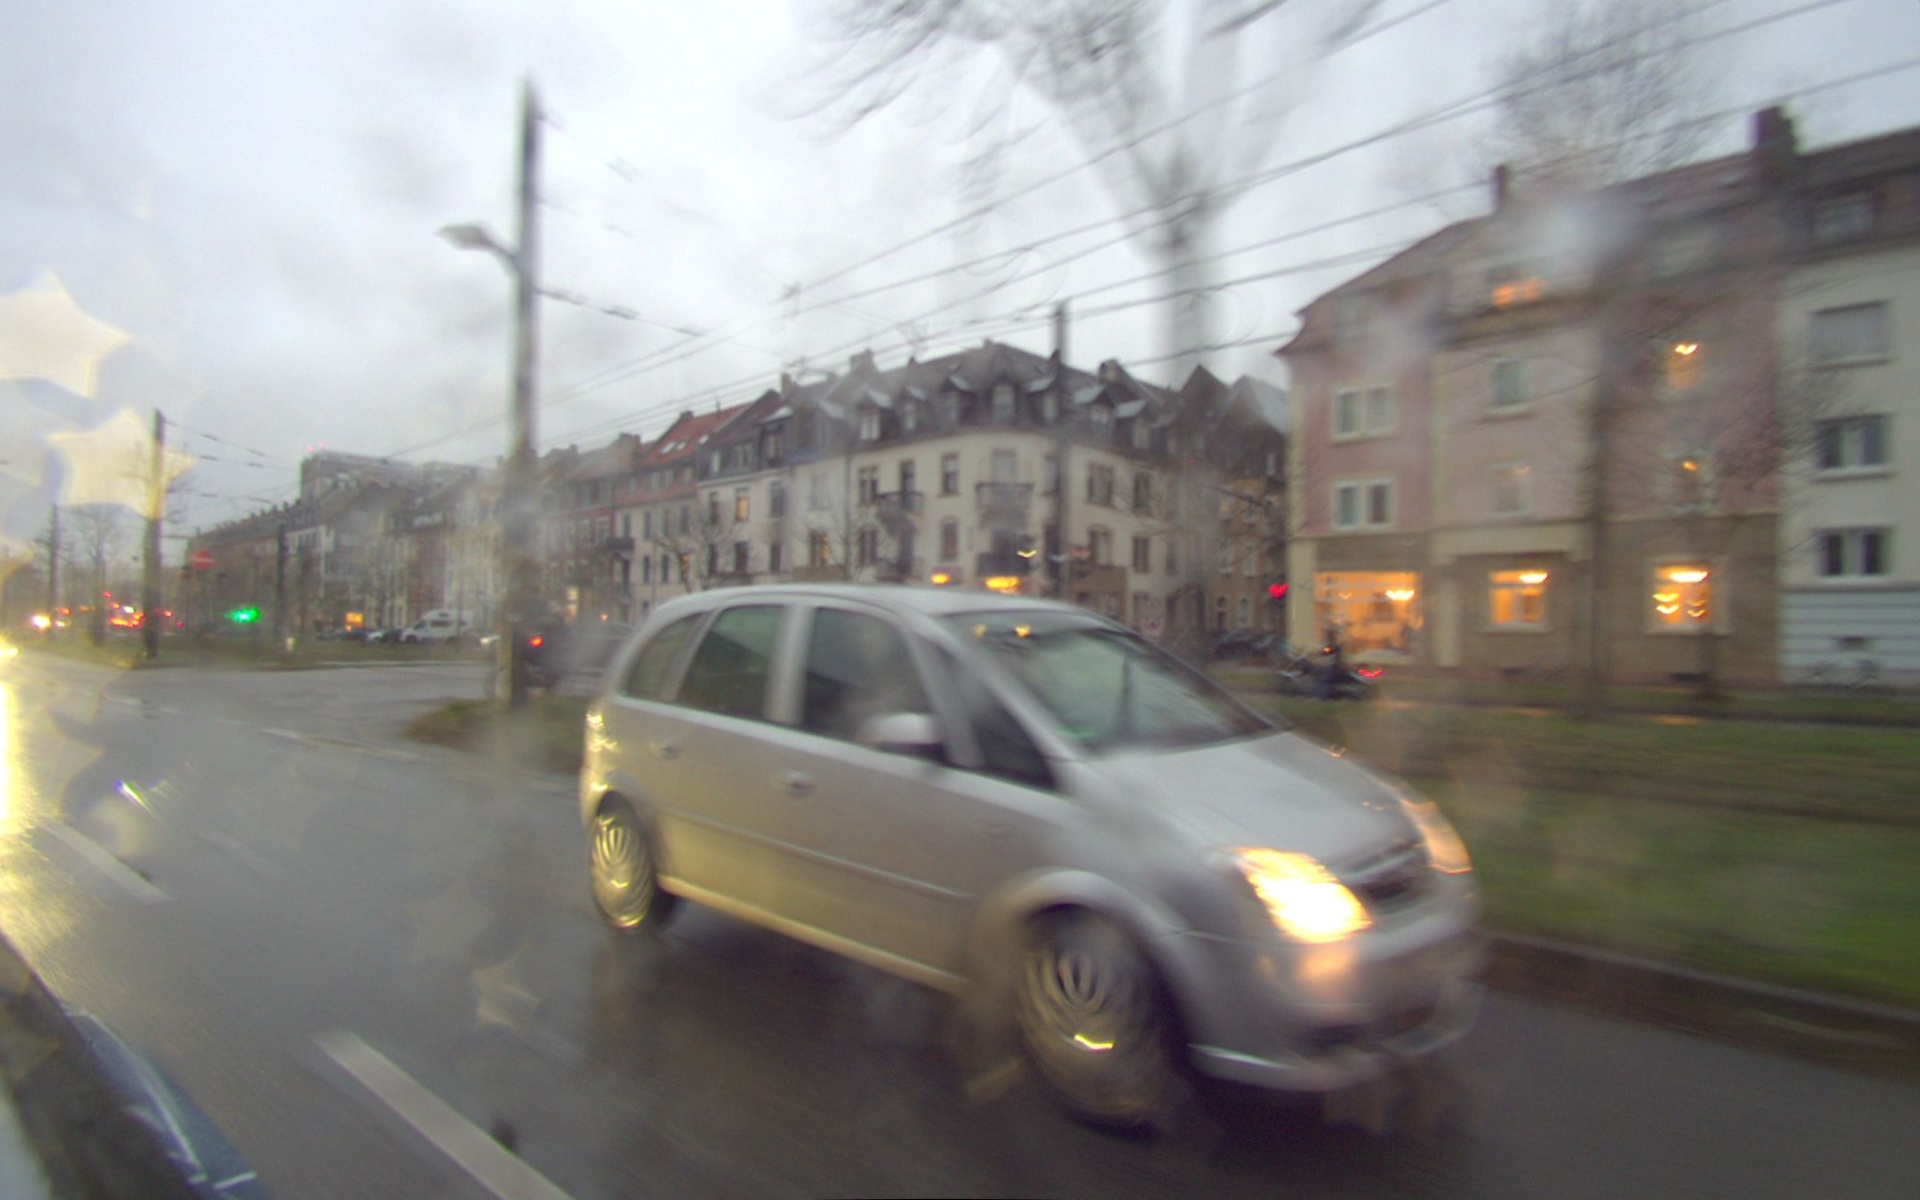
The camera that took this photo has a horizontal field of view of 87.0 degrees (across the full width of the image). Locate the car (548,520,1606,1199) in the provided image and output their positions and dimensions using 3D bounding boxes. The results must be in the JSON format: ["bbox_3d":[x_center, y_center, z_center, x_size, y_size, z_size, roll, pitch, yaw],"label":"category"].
[{"bbox_3d":[0.125,0.669,4.176,4.052,1.612,1.790,-1,-1,42],"label":"car"}]

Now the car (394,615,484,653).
[{"bbox_3d":[-40.226,2.607,78.233,5.779,2.819,2.002,1,-2,-4],"label":"car"}]

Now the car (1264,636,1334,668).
[{"bbox_3d":[16.409,2.462,48.906,1.998,1.431,3.948,-1,-2,38],"label":"car"}]

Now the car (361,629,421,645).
[{"bbox_3d":[-48.150,3.137,85.714,3.934,1.342,2.004,1,-2,-11],"label":"car"}]

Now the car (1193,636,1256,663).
[{"bbox_3d":[15.001,2.774,57.249,1.795,1.497,3.943,-2,-3,43],"label":"car"}]

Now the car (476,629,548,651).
[{"bbox_3d":[-29.664,2.642,67.085,3.936,1.342,2.004,1,-2,-8],"label":"car"}]

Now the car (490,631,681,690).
[{"bbox_3d":[-10.211,1.619,27.792,4.742,1.441,1.821,0,-1,-20],"label":"car"}]
